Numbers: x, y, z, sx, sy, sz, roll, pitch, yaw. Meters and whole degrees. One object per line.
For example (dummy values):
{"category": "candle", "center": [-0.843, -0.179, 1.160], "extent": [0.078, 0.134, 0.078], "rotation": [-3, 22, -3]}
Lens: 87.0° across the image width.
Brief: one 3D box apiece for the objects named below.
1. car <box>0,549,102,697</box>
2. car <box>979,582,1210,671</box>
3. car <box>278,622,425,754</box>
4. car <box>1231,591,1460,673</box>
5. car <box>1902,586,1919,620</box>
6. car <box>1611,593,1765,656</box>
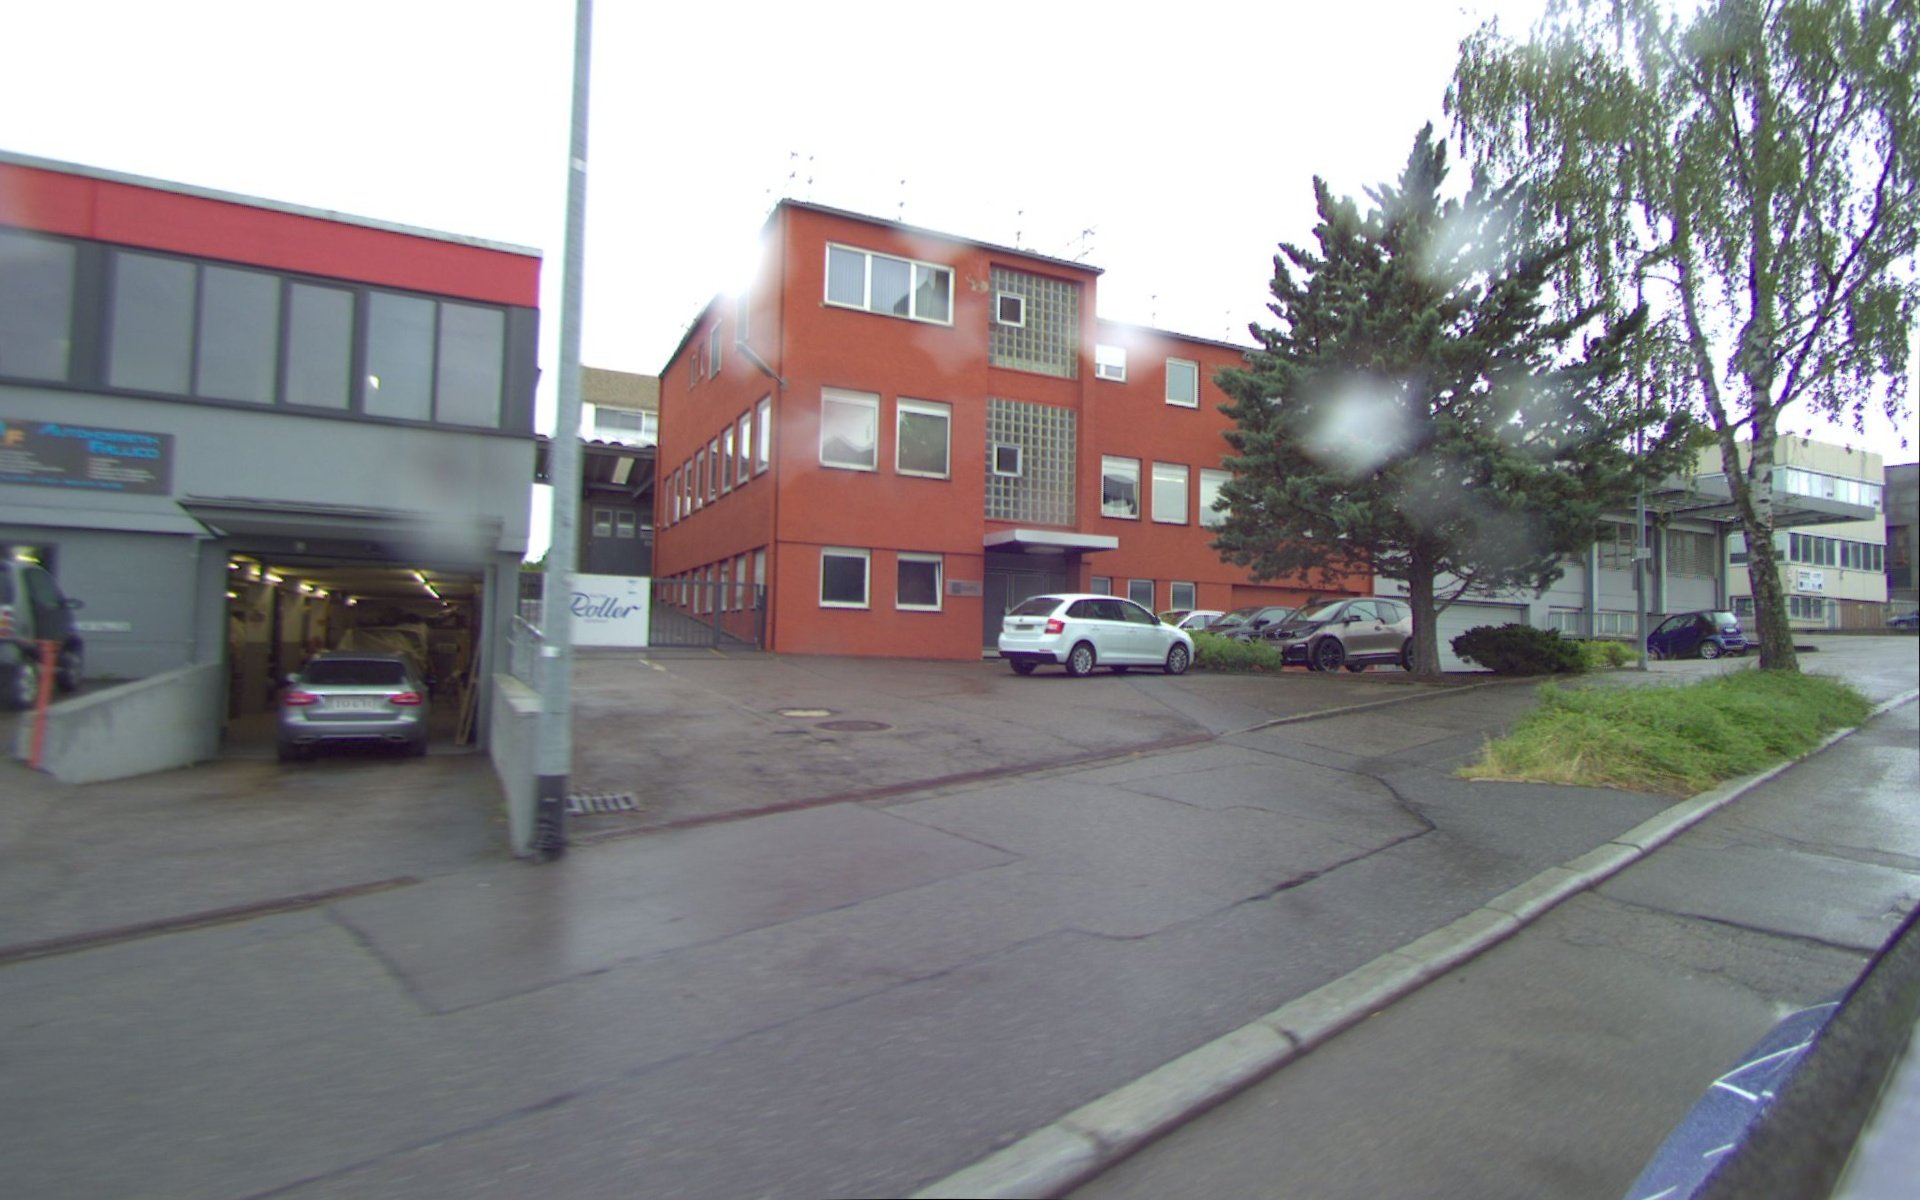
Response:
{"category": "car", "center": [-10.742, 0.216, 10.959], "extent": [1.644, 1.464, 2.725], "rotation": [0, 0, -28]}
{"category": "car", "center": [2.595, 0.444, 18.969], "extent": [4.250, 1.489, 1.908], "rotation": [0, 0, -39]}
{"category": "car", "center": [-8.475, 1.123, 14.194], "extent": [1.597, 1.514, 3.048], "rotation": [0, 0, -30]}
{"category": "car", "center": [8.212, 0.649, 21.571], "extent": [4.418, 1.600, 2.005], "rotation": [0, -2, -24]}
{"category": "car", "center": [45.297, 0.138, 45.684], "extent": [1.598, 1.559, 3.756], "rotation": [0, 0, -29]}
{"category": "car", "center": [22.771, 0.810, 31.789], "extent": [1.584, 1.520, 3.448], "rotation": [0, -9, -23]}
